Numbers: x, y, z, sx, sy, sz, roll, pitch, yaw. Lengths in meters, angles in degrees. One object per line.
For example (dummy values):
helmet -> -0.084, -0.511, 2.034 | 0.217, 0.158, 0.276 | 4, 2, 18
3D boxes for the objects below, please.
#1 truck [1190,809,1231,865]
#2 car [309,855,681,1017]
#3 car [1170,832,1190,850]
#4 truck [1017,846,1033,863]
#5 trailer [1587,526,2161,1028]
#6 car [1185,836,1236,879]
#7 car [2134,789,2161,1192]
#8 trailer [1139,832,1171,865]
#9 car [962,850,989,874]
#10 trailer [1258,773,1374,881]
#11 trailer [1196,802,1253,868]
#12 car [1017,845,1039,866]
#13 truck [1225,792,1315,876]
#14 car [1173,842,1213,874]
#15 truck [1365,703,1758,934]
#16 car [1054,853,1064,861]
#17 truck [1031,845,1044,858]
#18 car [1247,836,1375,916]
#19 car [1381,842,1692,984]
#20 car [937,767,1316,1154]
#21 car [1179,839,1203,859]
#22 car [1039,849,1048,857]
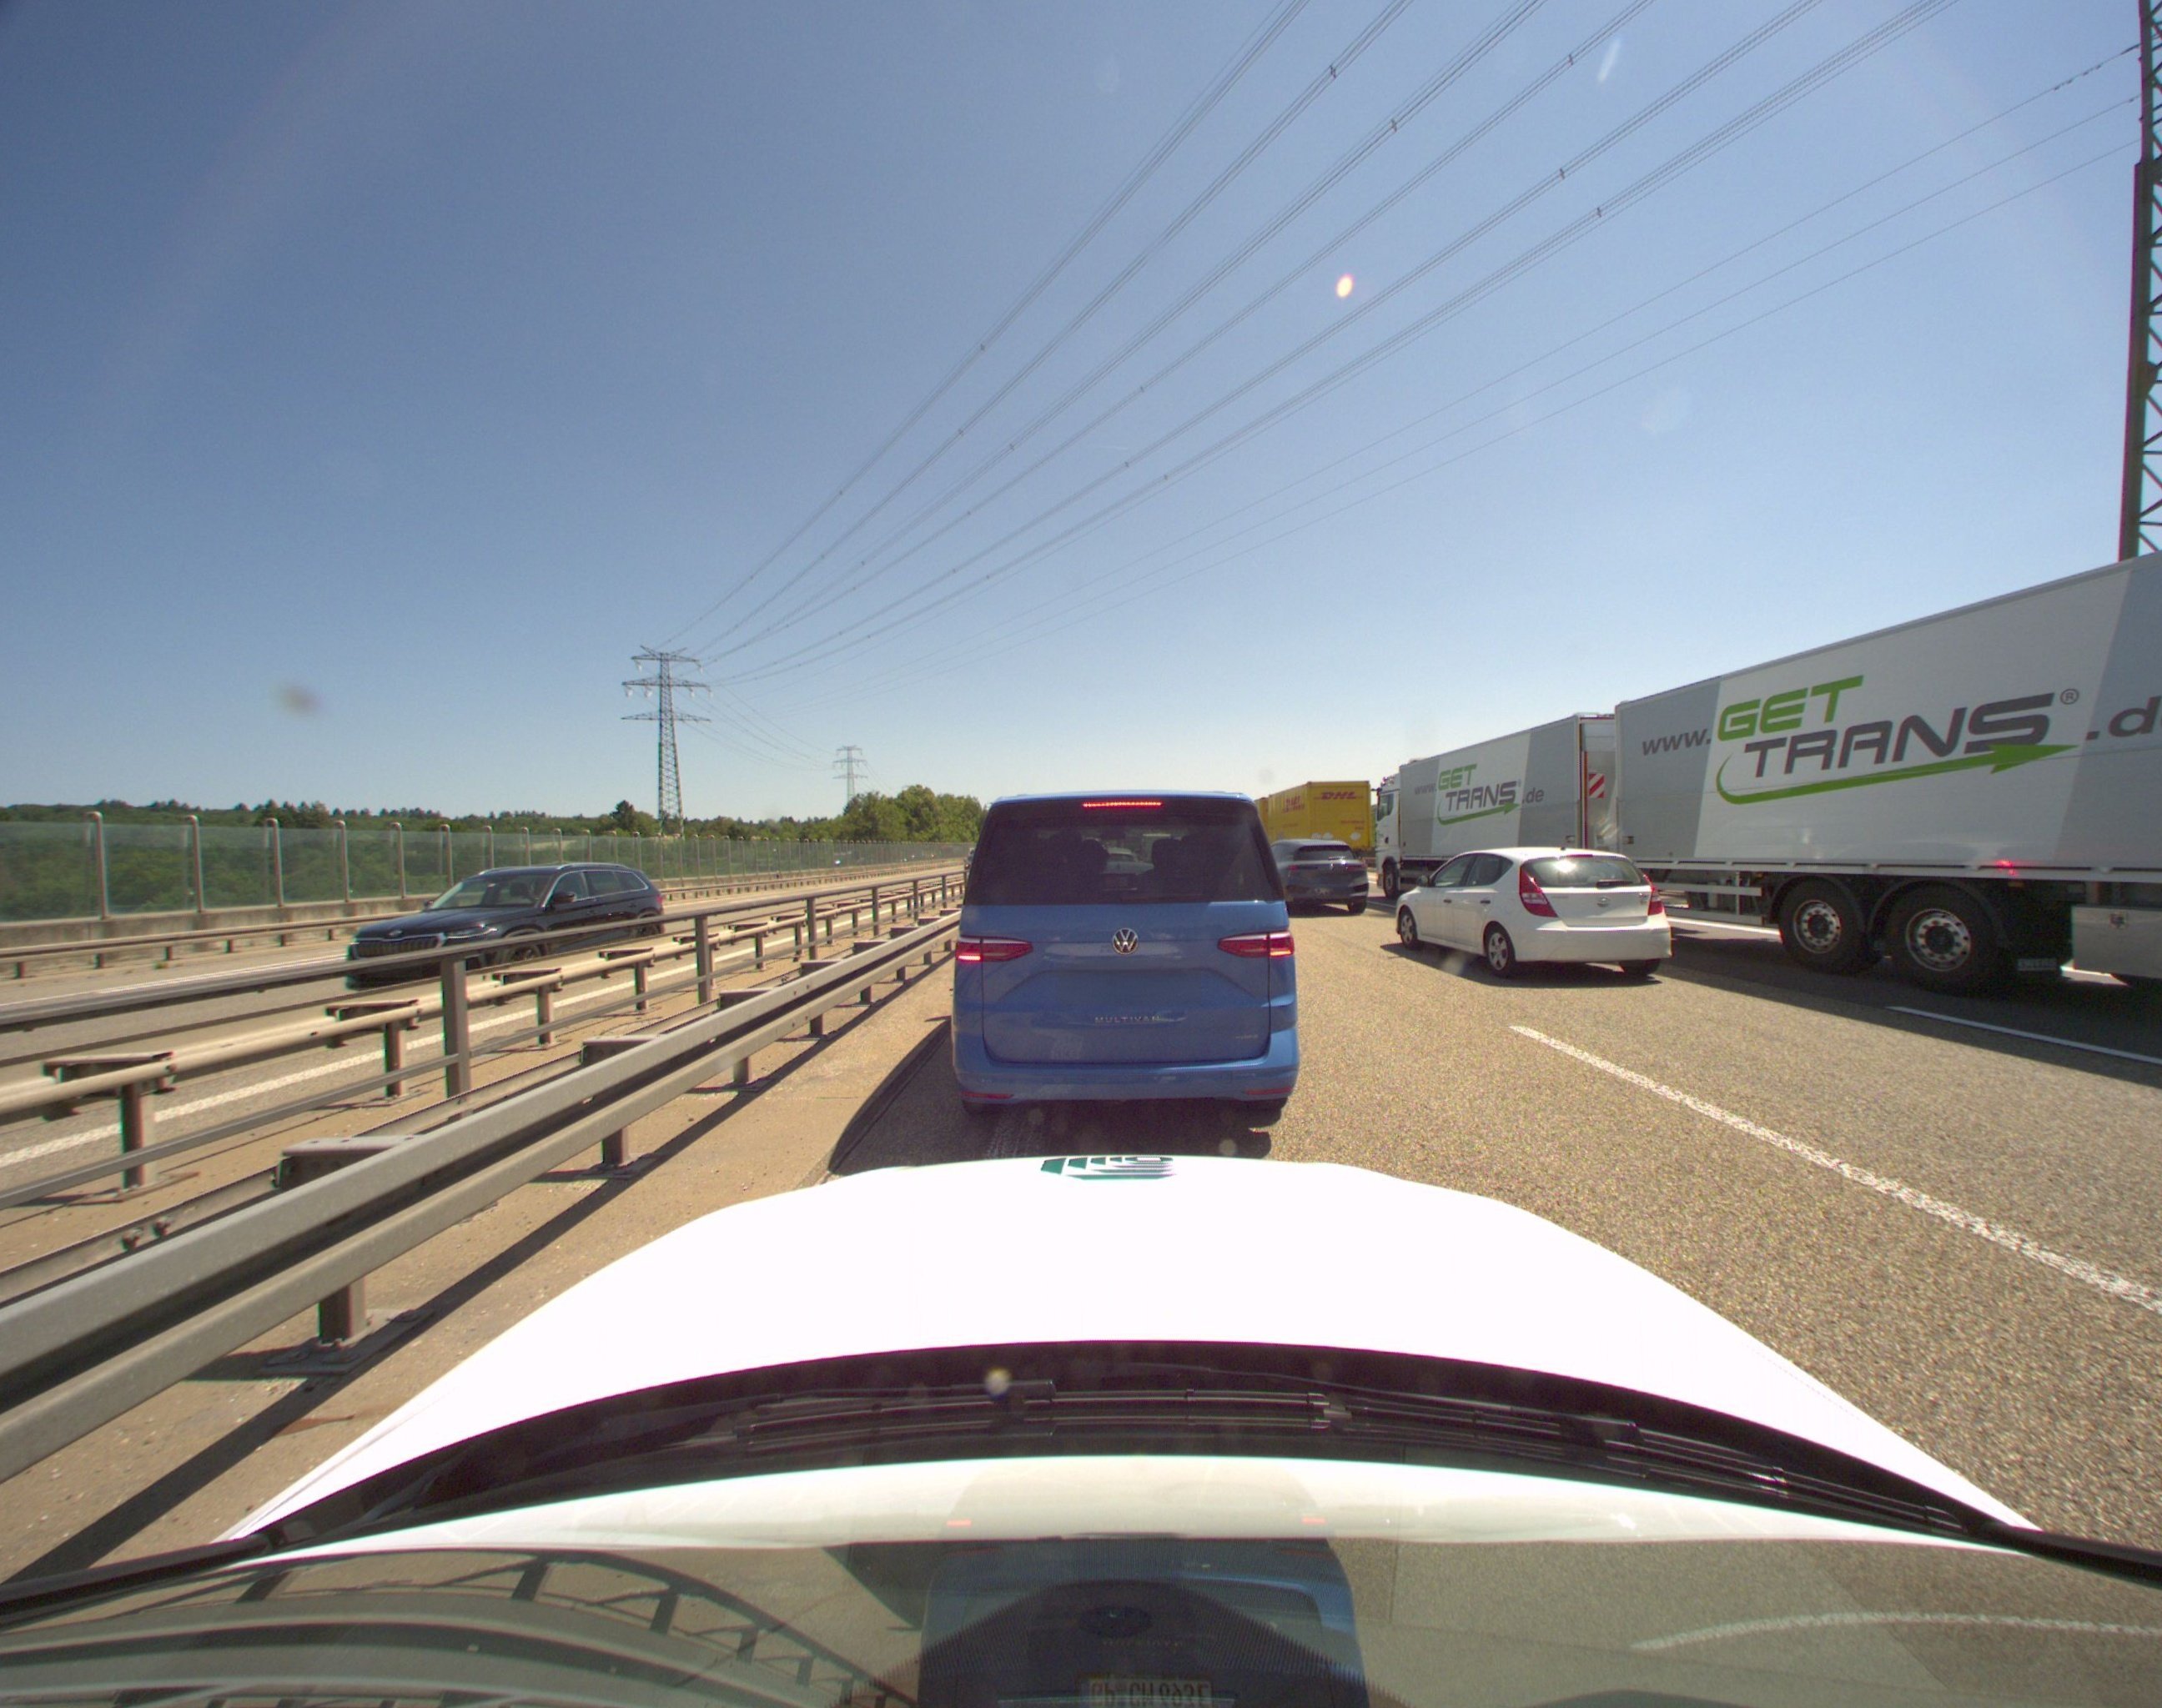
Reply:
truck -> 10.873, -1.355, 68.963 | 2.657, 4.484, 6.853 | 0, 0, 2
car -> -7.801, 0.941, 11.545 | 1.860, 1.699, 4.432 | -4, 0, 1
car -> 11.643, -1.498, 95.940 | 1.986, 2.013, 4.463 | -2, 0, 2
truck -> -11.723, 0.022, 170.152 | 2.488, 3.365, 5.836 | -4, 0, 2
trailer -> 9.387, -0.605, 9.028 | 2.688, 3.700, 8.017 | -1, 0, 1
car -> 6.415, 0.142, 40.768 | 1.954, 1.993, 4.295 | -1, 0, 2
car -> 5.271, 0.552, 1.299 | 1.768, 1.662, 4.225 | -1, 0, 1
trailer -> 7.116, -0.485, 79.600 | 2.559, 2.990, 10.668 | 0, 0, 2
car -> -10.613, 0.765, 82.248 | 1.986, 2.215, 4.269 | -4, 0, 1
trailer -> 10.240, -1.037, 36.598 | 2.854, 4.239, 9.015 | 0, 0, 2
trailer -> 10.624, -1.339, 61.440 | 2.627, 4.516, 11.306 | 0, 0, 2
car -> -5.830, 0.197, 89.757 | 1.856, 2.131, 4.271 | -4, 0, 2
truck -> 10.499, -1.025, 46.595 | 2.826, 4.242, 11.014 | 0, 0, 1
car -> 6.719, 0.240, 49.366 | 1.986, 1.816, 4.002 | -1, 0, 2
truck -> 9.613, -0.598, 18.561 | 2.647, 3.648, 11.014 | -1, 0, 1
car -> -4.412, 0.584, 163.494 | 1.613, 1.464, 3.703 | -3, 0, 2
truck -> -11.368, -0.719, 211.942 | 2.510, 3.110, 8.724 | -5, 0, 1
car -> 5.338, 0.460, 19.492 | 1.954, 1.644, 4.295 | -1, 0, 2
car -> 5.597, 0.617, 10.733 | 1.782, 1.455, 4.295 | -1, 0, 2
car -> 0.288, 0.518, 5.971 | 1.813, 1.857, 4.076 | 0, 0, 2
car -> 11.017, -0.487, 81.658 | 1.986, 2.013, 4.002 | 0, 0, 2
car -> -11.671, -0.301, 253.315 | 2.074, 2.149, 4.314 | -3, 0, 2
